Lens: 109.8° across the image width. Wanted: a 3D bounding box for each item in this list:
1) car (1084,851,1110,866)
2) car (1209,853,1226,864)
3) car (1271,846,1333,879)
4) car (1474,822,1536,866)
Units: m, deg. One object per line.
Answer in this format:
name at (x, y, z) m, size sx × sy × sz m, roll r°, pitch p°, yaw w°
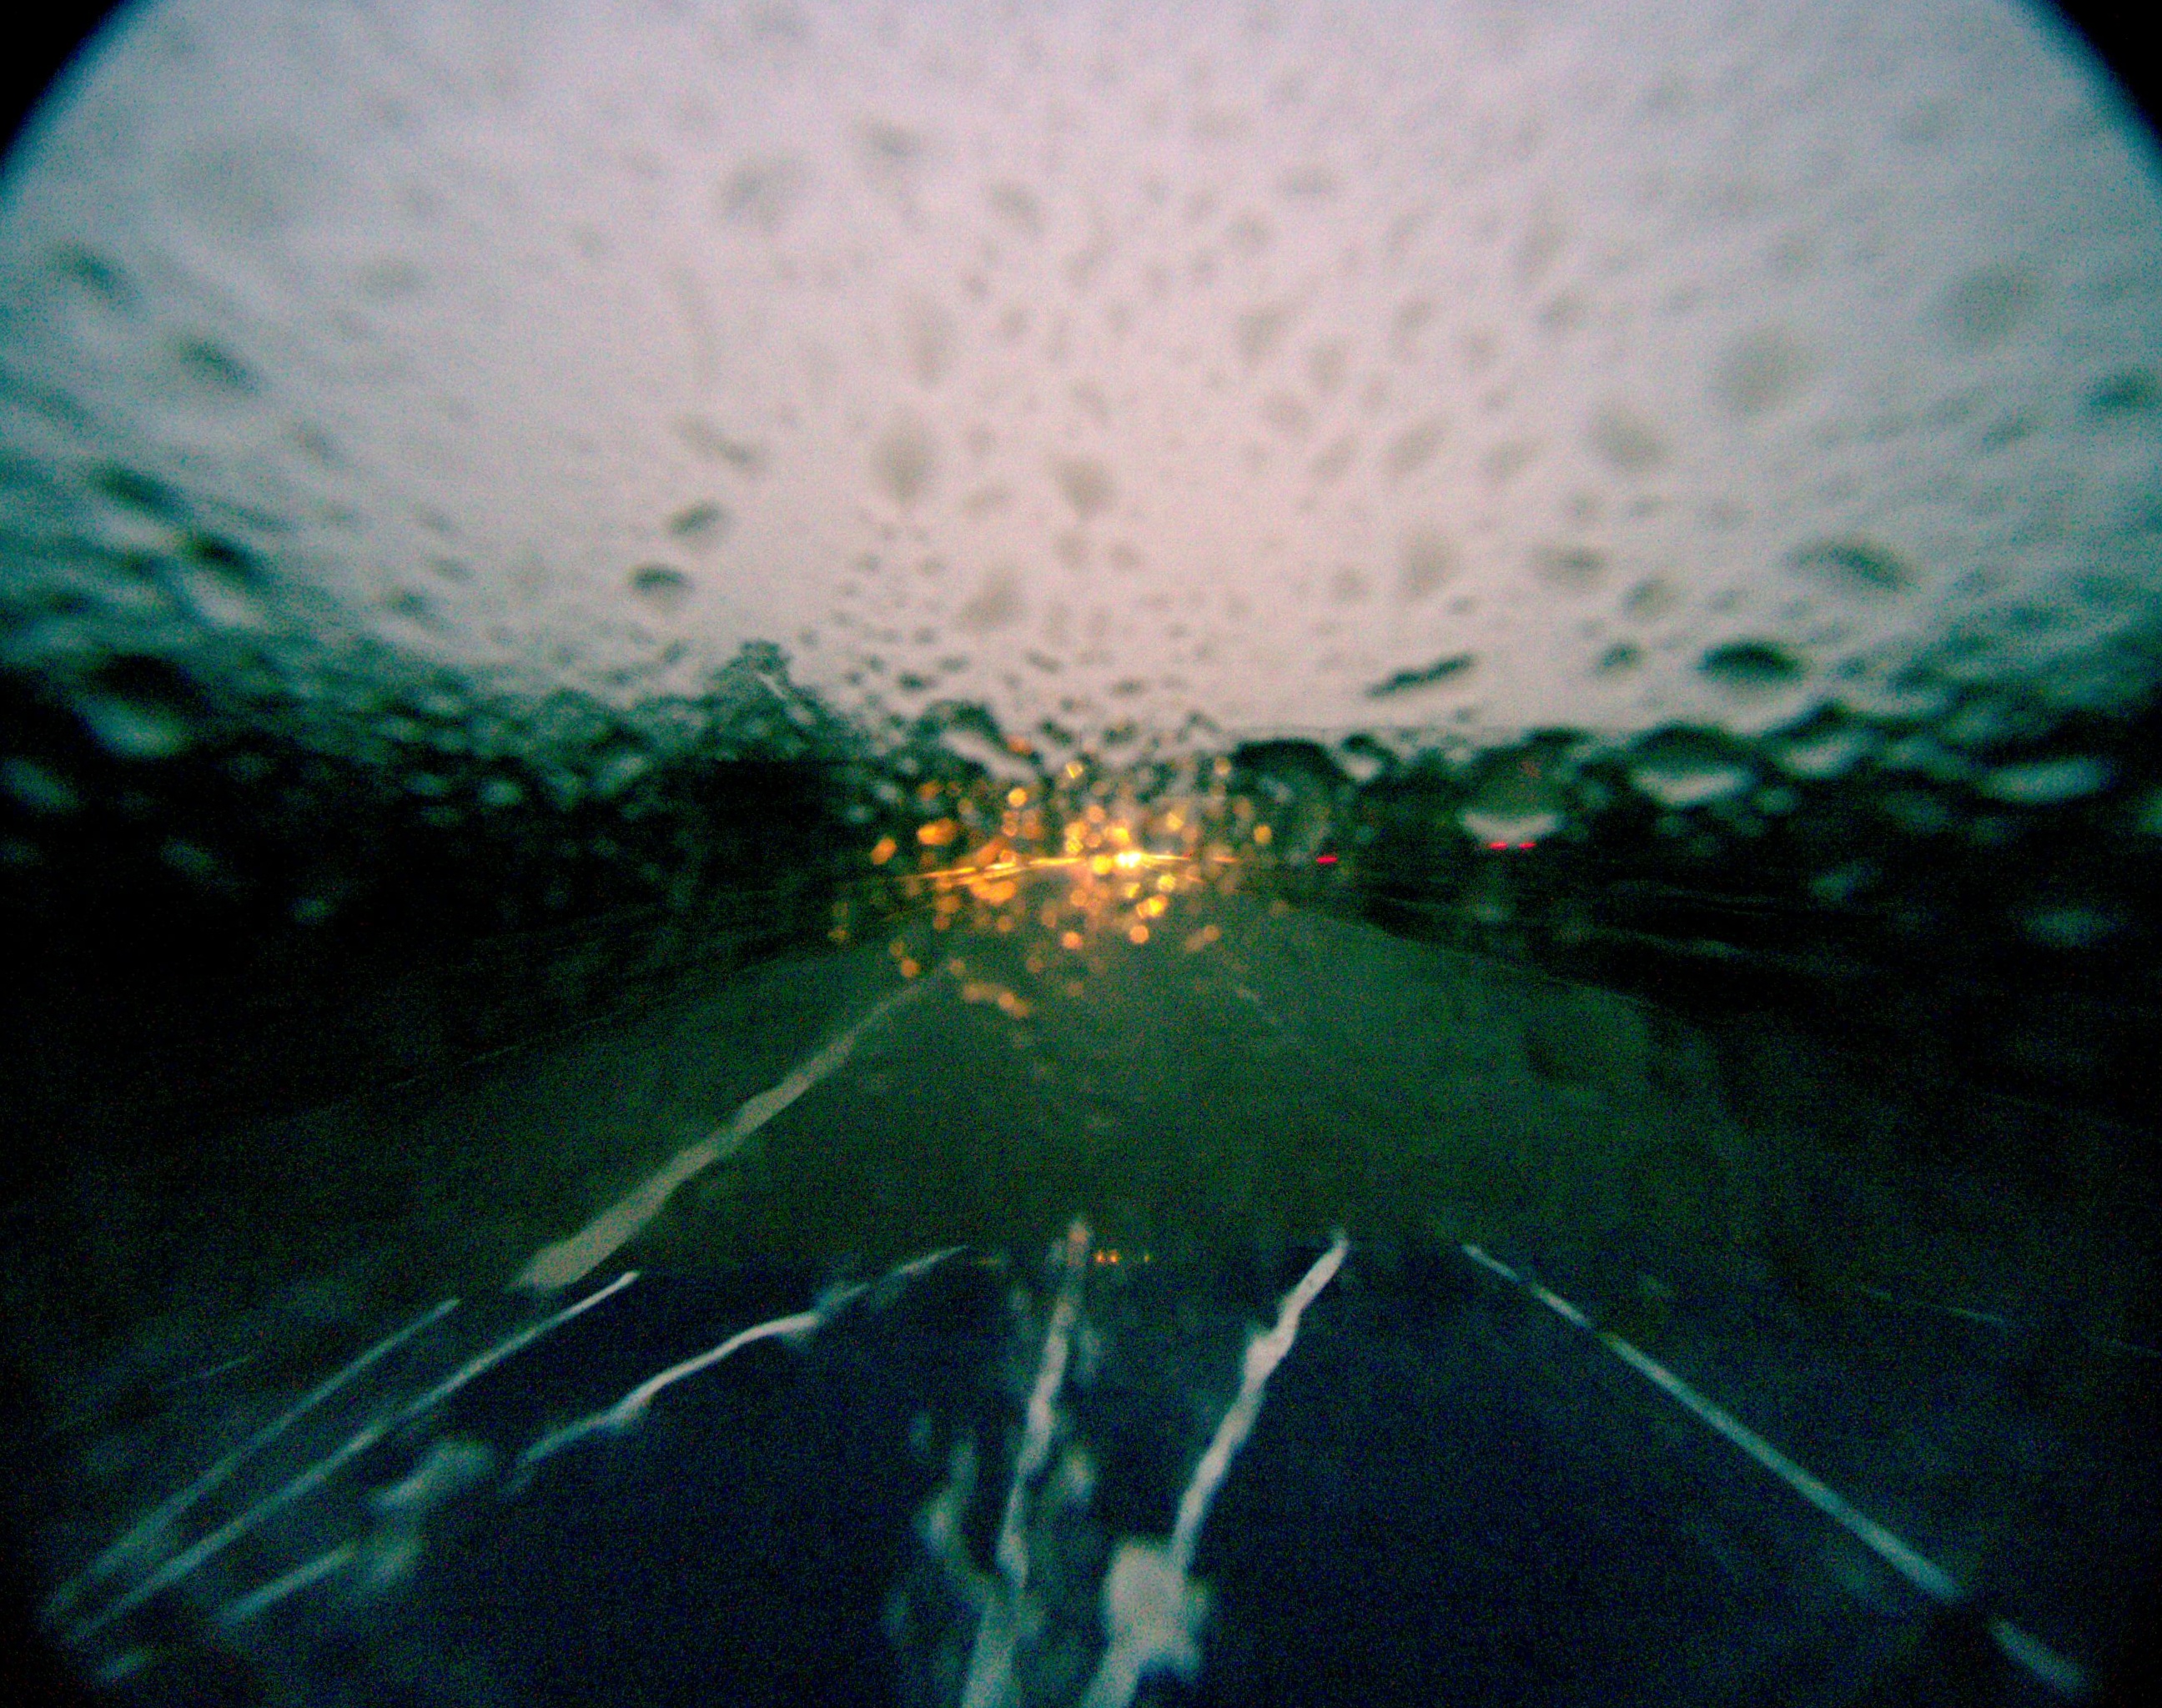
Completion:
car at (1.706, 0.472, 79.531) m, size 1.951 × 1.511 × 4.791 m, roll -1°, pitch 0°, yaw 11°
car at (15.577, 0.533, 86.775) m, size 1.438 × 1.215 × 3.367 m, roll -2°, pitch 0°, yaw 1°
car at (11.433, 0.405, 39.560) m, size 1.882 × 1.570 × 4.480 m, roll -2°, pitch 0°, yaw 0°
car at (29.544, -0.693, 53.138) m, size 2.194 × 2.756 × 4.581 m, roll -4°, pitch 0°, yaw 9°
